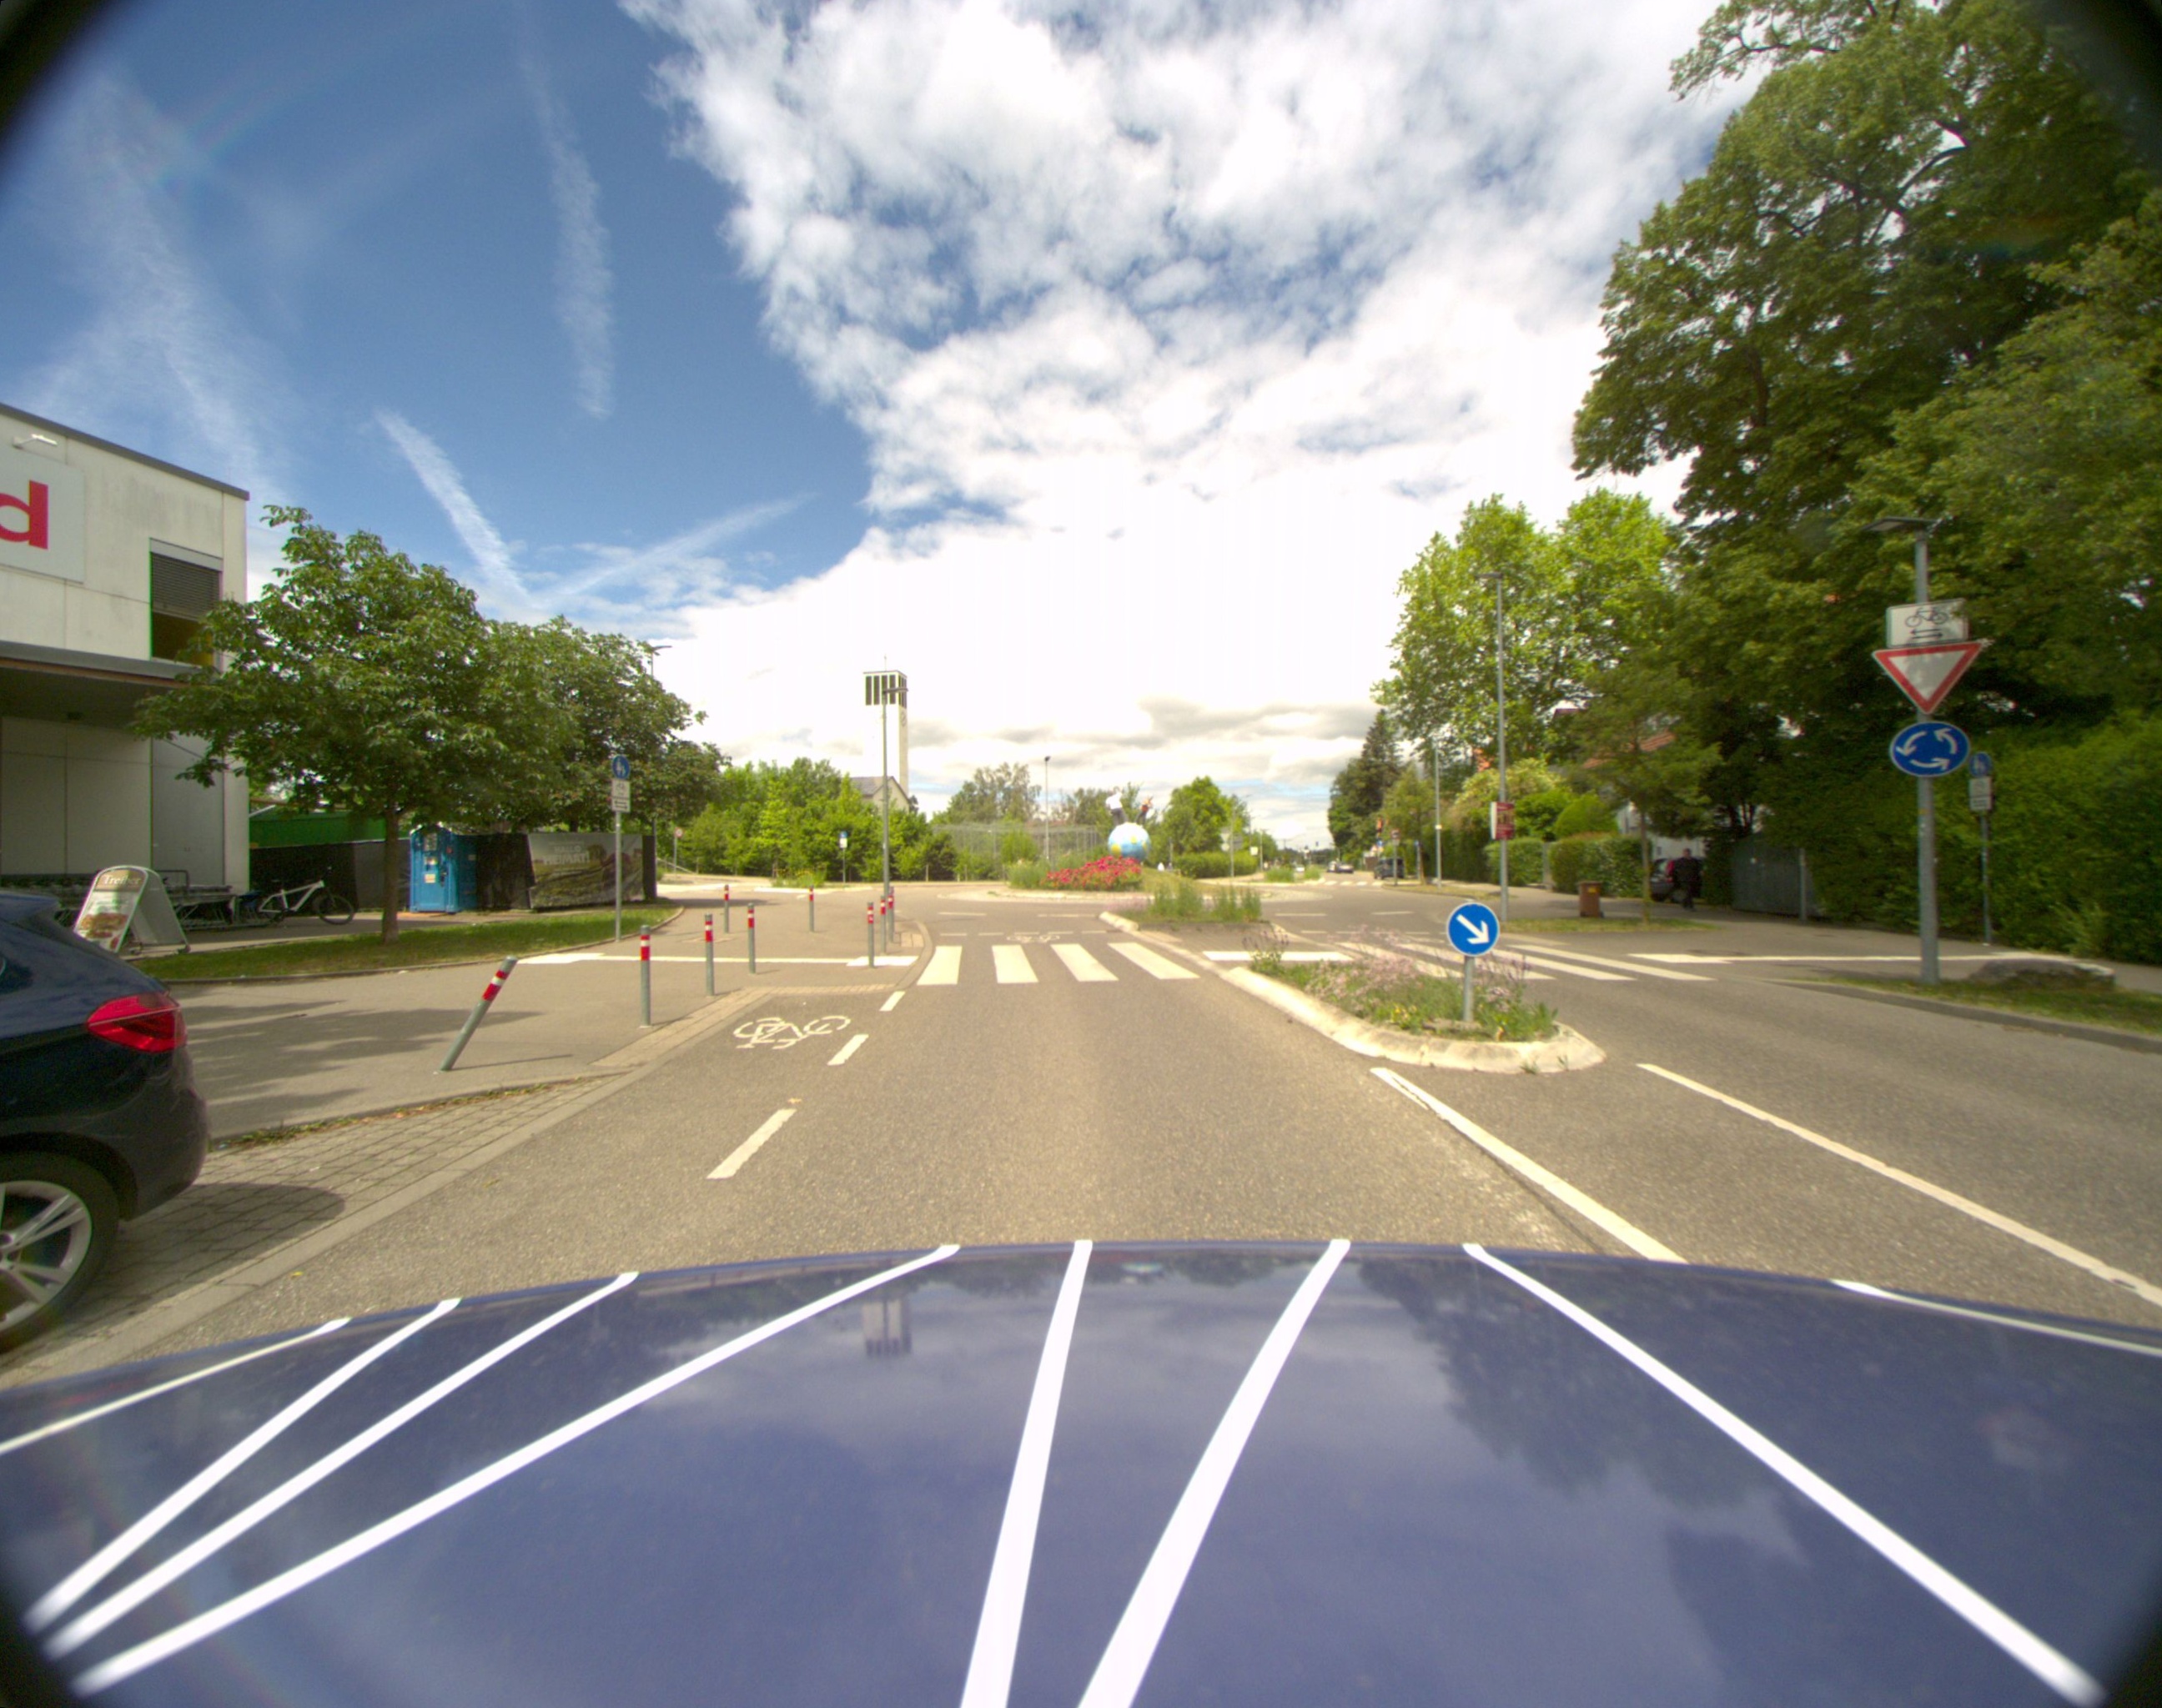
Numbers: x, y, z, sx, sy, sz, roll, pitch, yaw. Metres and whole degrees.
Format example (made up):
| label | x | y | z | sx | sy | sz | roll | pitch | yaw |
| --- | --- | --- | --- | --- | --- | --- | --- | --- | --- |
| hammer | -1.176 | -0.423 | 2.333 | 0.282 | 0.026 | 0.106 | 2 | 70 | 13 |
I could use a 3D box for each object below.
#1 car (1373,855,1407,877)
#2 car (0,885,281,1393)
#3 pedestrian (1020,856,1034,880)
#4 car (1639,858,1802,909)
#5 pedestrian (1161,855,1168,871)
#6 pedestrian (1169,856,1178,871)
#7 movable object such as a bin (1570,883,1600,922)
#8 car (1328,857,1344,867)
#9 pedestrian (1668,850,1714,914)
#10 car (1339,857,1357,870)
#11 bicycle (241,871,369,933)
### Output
| label | x | y | z | sx | sy | sz | roll | pitch | yaw |
| --- | --- | --- | --- | --- | --- | --- | --- | --- | --- |
| car | 23.916 | 0.887 | 58.918 | 1.679 | 1.652 | 4.003 | 0 | 0 | 12 |
| car | -4.526 | 0.935 | 1.067 | 1.920 | 1.569 | 4.431 | 0 | 0 | 5 |
| pedestrian | -3.505 | 0.902 | 49.409 | 0.457 | 1.524 | 0.965 | -1 | 0 | 23 |
| car | 20.418 | 0.898 | 24.424 | 3.571 | 1.389 | 1.667 | 2 | 1 | 16 |
| pedestrian | 8.708 | 0.914 | 79.081 | 0.608 | 1.687 | 0.566 | 0 | 1 | -7 |
| pedestrian | 9.644 | 1.024 | 79.234 | 0.765 | 1.549 | 0.600 | 0 | 1 | -22 |
| movable object such as a bin | 12.469 | 1.194 | 18.800 | 0.441 | 0.929 | 0.411 | 0 | 1 | -13 |
| car | 42.487 | 1.309 | 126.722 | 1.997 | 1.696 | 4.004 | 0 | 0 | 11 |
| pedestrian | 16.530 | 0.754 | 20.598 | 0.745 | 1.681 | 0.695 | -1 | 1 | 17 |
| car | 34.000 | 1.163 | 96.741 | 1.860 | 1.568 | 4.005 | -1 | 0 | 16 |
| bicycle | -16.673 | 1.009 | 16.377 | 1.774 | 1.227 | 0.714 | -2 | 1 | -18 |
